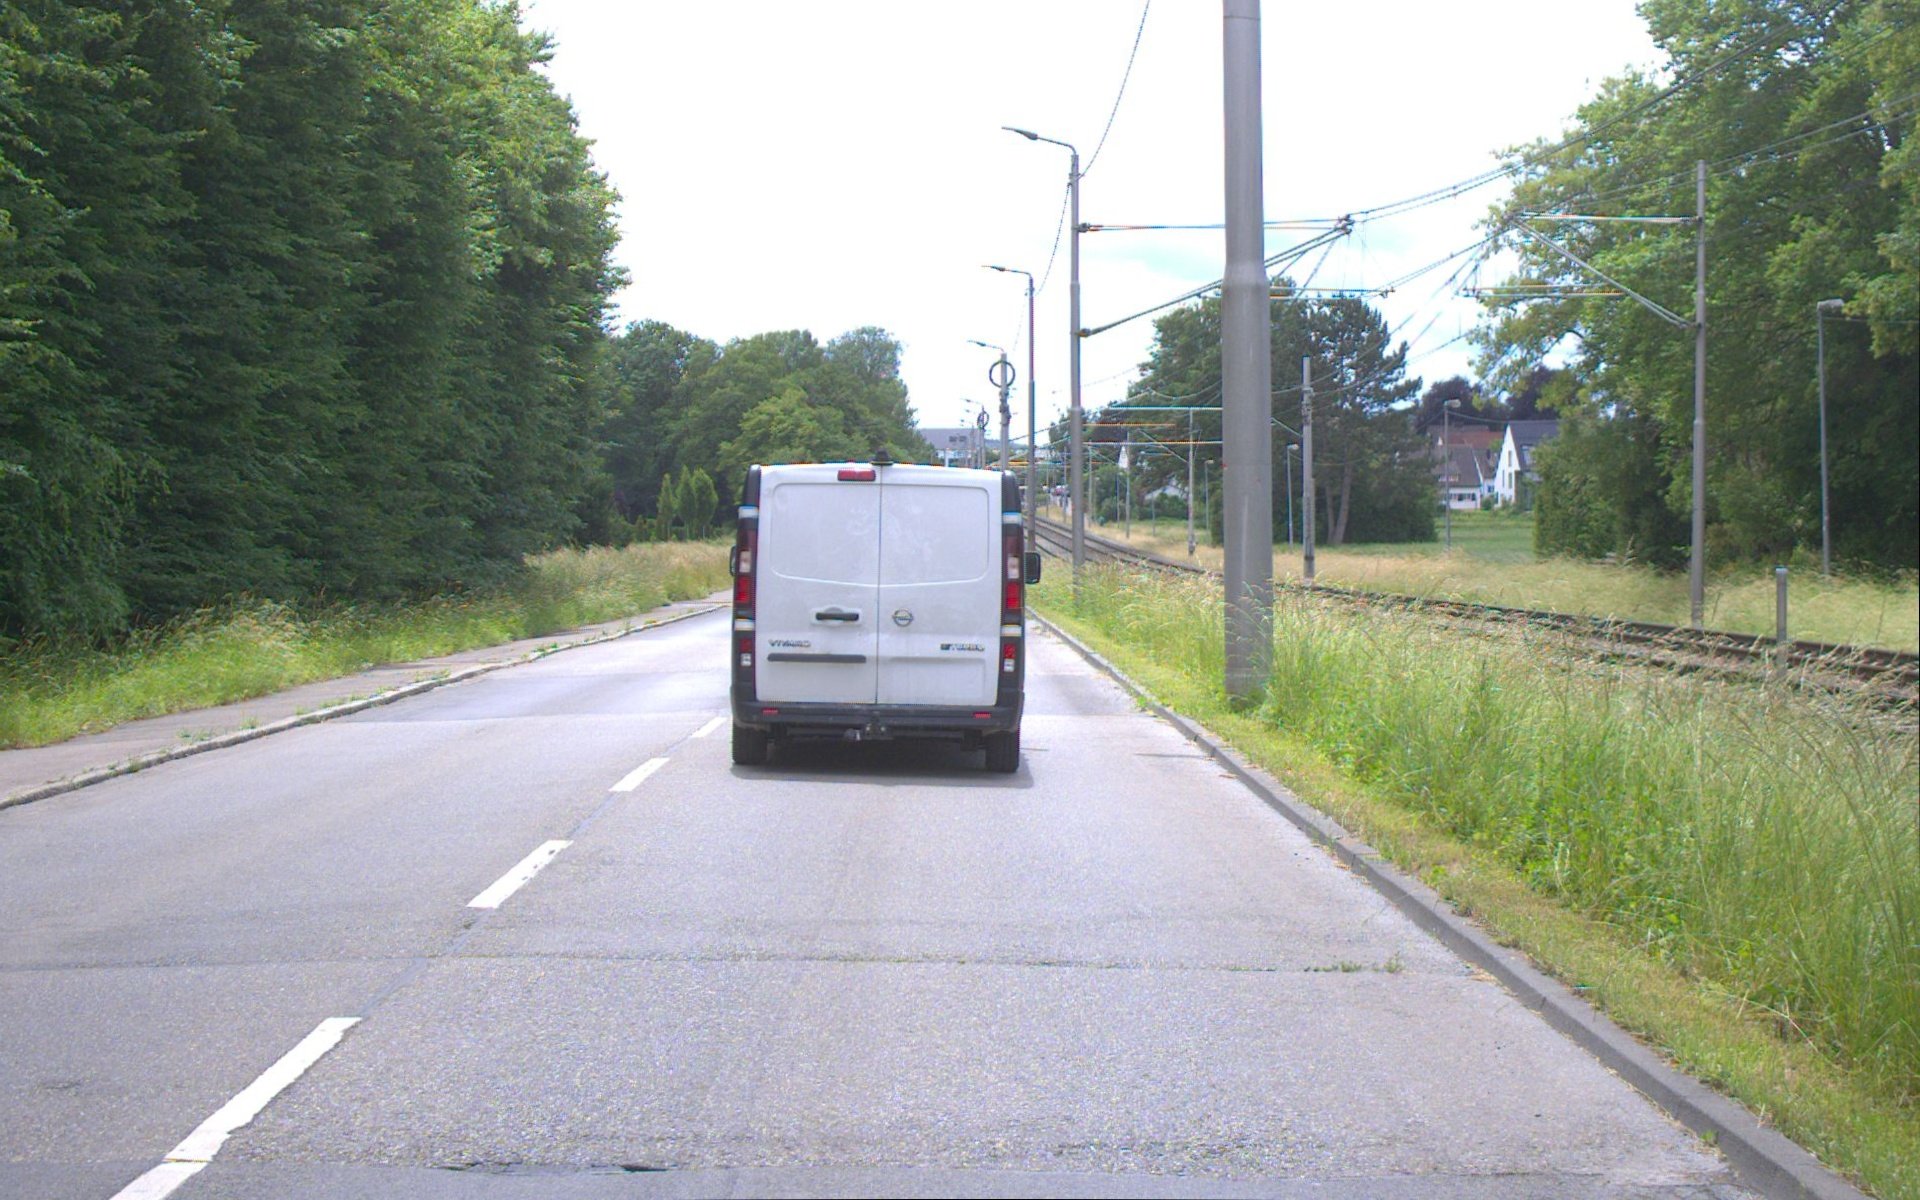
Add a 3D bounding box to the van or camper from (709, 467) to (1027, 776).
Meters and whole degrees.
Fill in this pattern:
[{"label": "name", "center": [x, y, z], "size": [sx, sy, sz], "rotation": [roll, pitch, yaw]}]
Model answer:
[{"label": "van or camper", "center": [-0.530, 0.102, 23.190], "size": [1.942, 1.890, 4.285], "rotation": [0, 1, 1]}]
